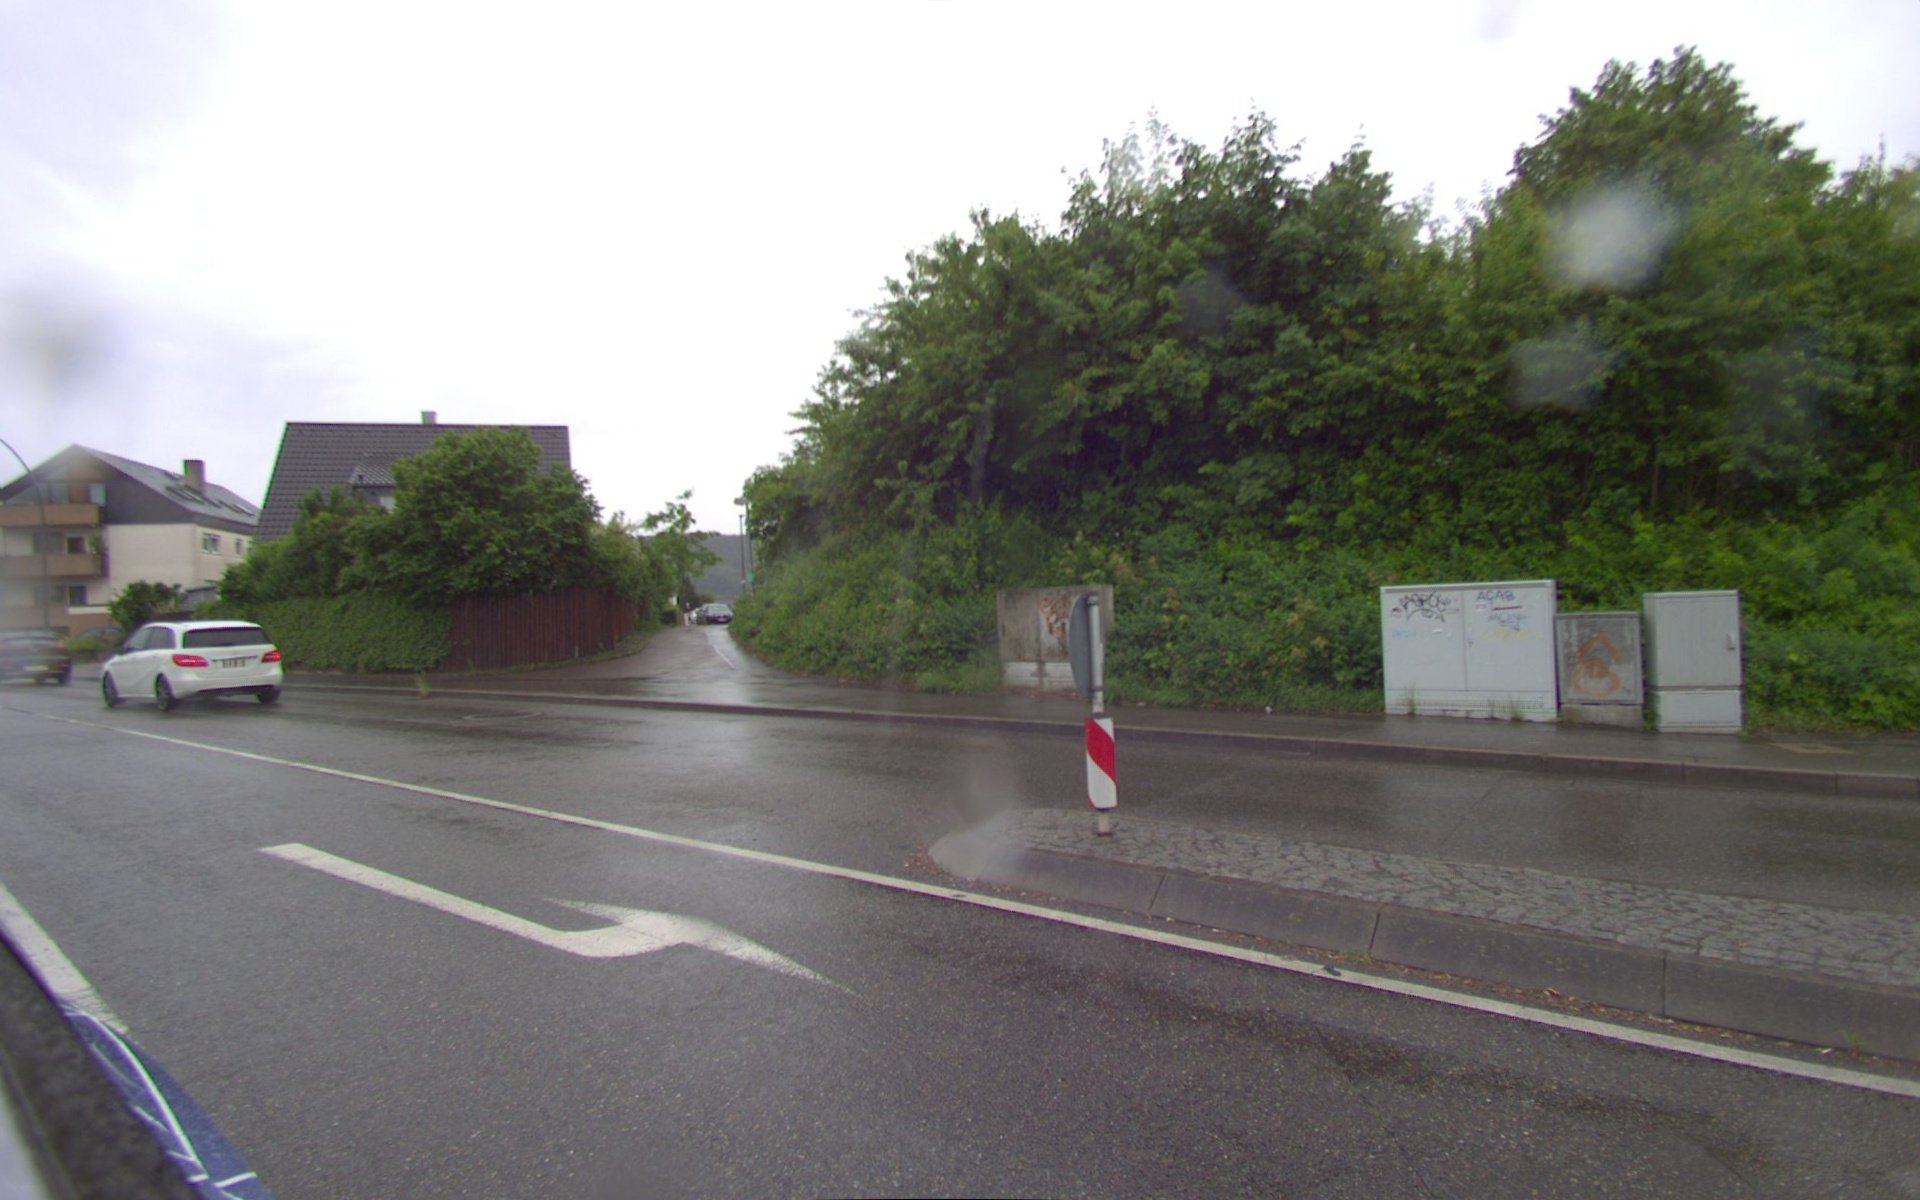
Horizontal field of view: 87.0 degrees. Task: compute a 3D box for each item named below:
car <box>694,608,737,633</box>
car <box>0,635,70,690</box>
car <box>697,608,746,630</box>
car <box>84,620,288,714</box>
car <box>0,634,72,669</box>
[{"bbox_3d":[-15.942,1.343,65.953,1.867,1.494,4.013,-1,-1,-26],"label":"car"},{"bbox_3d":[-26.943,1.719,28.578,4.095,1.449,1.651,-1,-2,33],"label":"car"},{"bbox_3d":[-17.316,1.351,73.338,1.967,1.497,4.009,-1,0,-37],"label":"car"},{"bbox_3d":[-14.441,1.183,18.820,4.309,1.516,1.651,-2,0,33],"label":"car"},{"bbox_3d":[-46.701,2.546,50.769,1.638,1.558,4.011,-1,0,-15],"label":"car"}]
